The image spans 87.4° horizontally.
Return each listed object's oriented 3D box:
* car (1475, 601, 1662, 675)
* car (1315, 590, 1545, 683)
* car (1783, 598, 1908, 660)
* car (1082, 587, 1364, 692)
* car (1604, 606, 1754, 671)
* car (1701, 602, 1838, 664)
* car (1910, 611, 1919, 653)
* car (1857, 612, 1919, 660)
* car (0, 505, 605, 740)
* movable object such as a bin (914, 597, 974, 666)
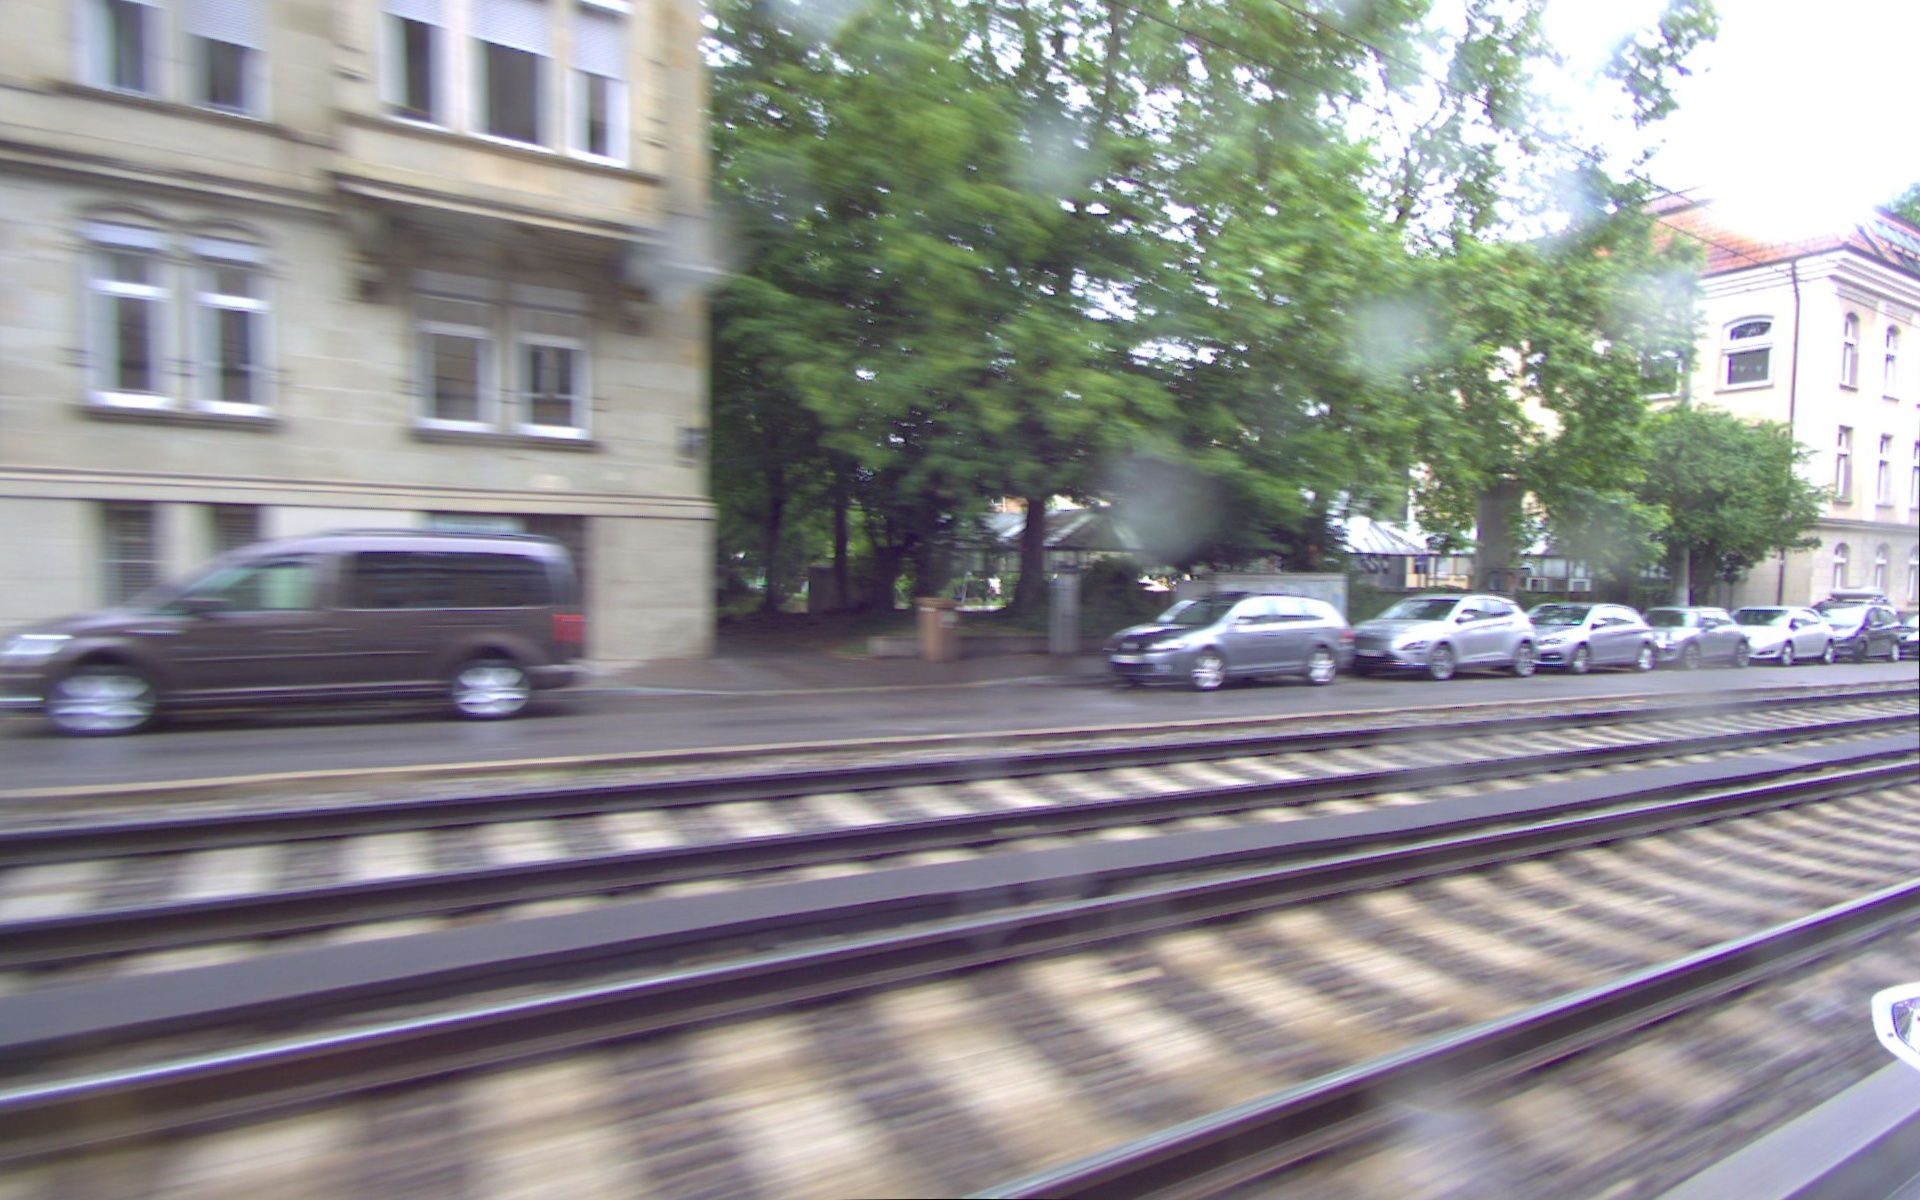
[{"bbox_3d":[13.032,0.783,21.456,4.106,1.432,1.745,1,-1,-31],"label":"car"},{"bbox_3d":[8.859,0.659,18.823,4.491,1.556,1.745,1,-1,-31],"label":"car"},{"bbox_3d":[25.332,0.826,28.709,4.025,1.665,1.568,1,-1,-31],"label":"car"},{"bbox_3d":[4.288,0.605,16.136,4.500,1.483,1.839,1,-1,-32],"label":"car"},{"bbox_3d":[17.159,0.893,23.928,3.908,1.432,1.531,1,-1,-31],"label":"car"},{"bbox_3d":[21.228,0.846,26.305,4.107,1.525,1.531,1,-1,-31],"label":"car"},{"bbox_3d":[33.935,1.082,33.999,3.939,1.409,1.493,1,-1,-29],"label":"car"},{"bbox_3d":[30.039,1.126,31.506,3.961,1.432,1.667,1,-1,-29],"label":"car"},{"bbox_3d":[-6.163,0.217,9.926,4.762,1.871,1.792,1,0,-31],"label":"car"},{"bbox_3d":[-0.280,0.534,17.363,0.763,1.135,0.714,1,2,-28],"label":"movable object such as a bin"}]
